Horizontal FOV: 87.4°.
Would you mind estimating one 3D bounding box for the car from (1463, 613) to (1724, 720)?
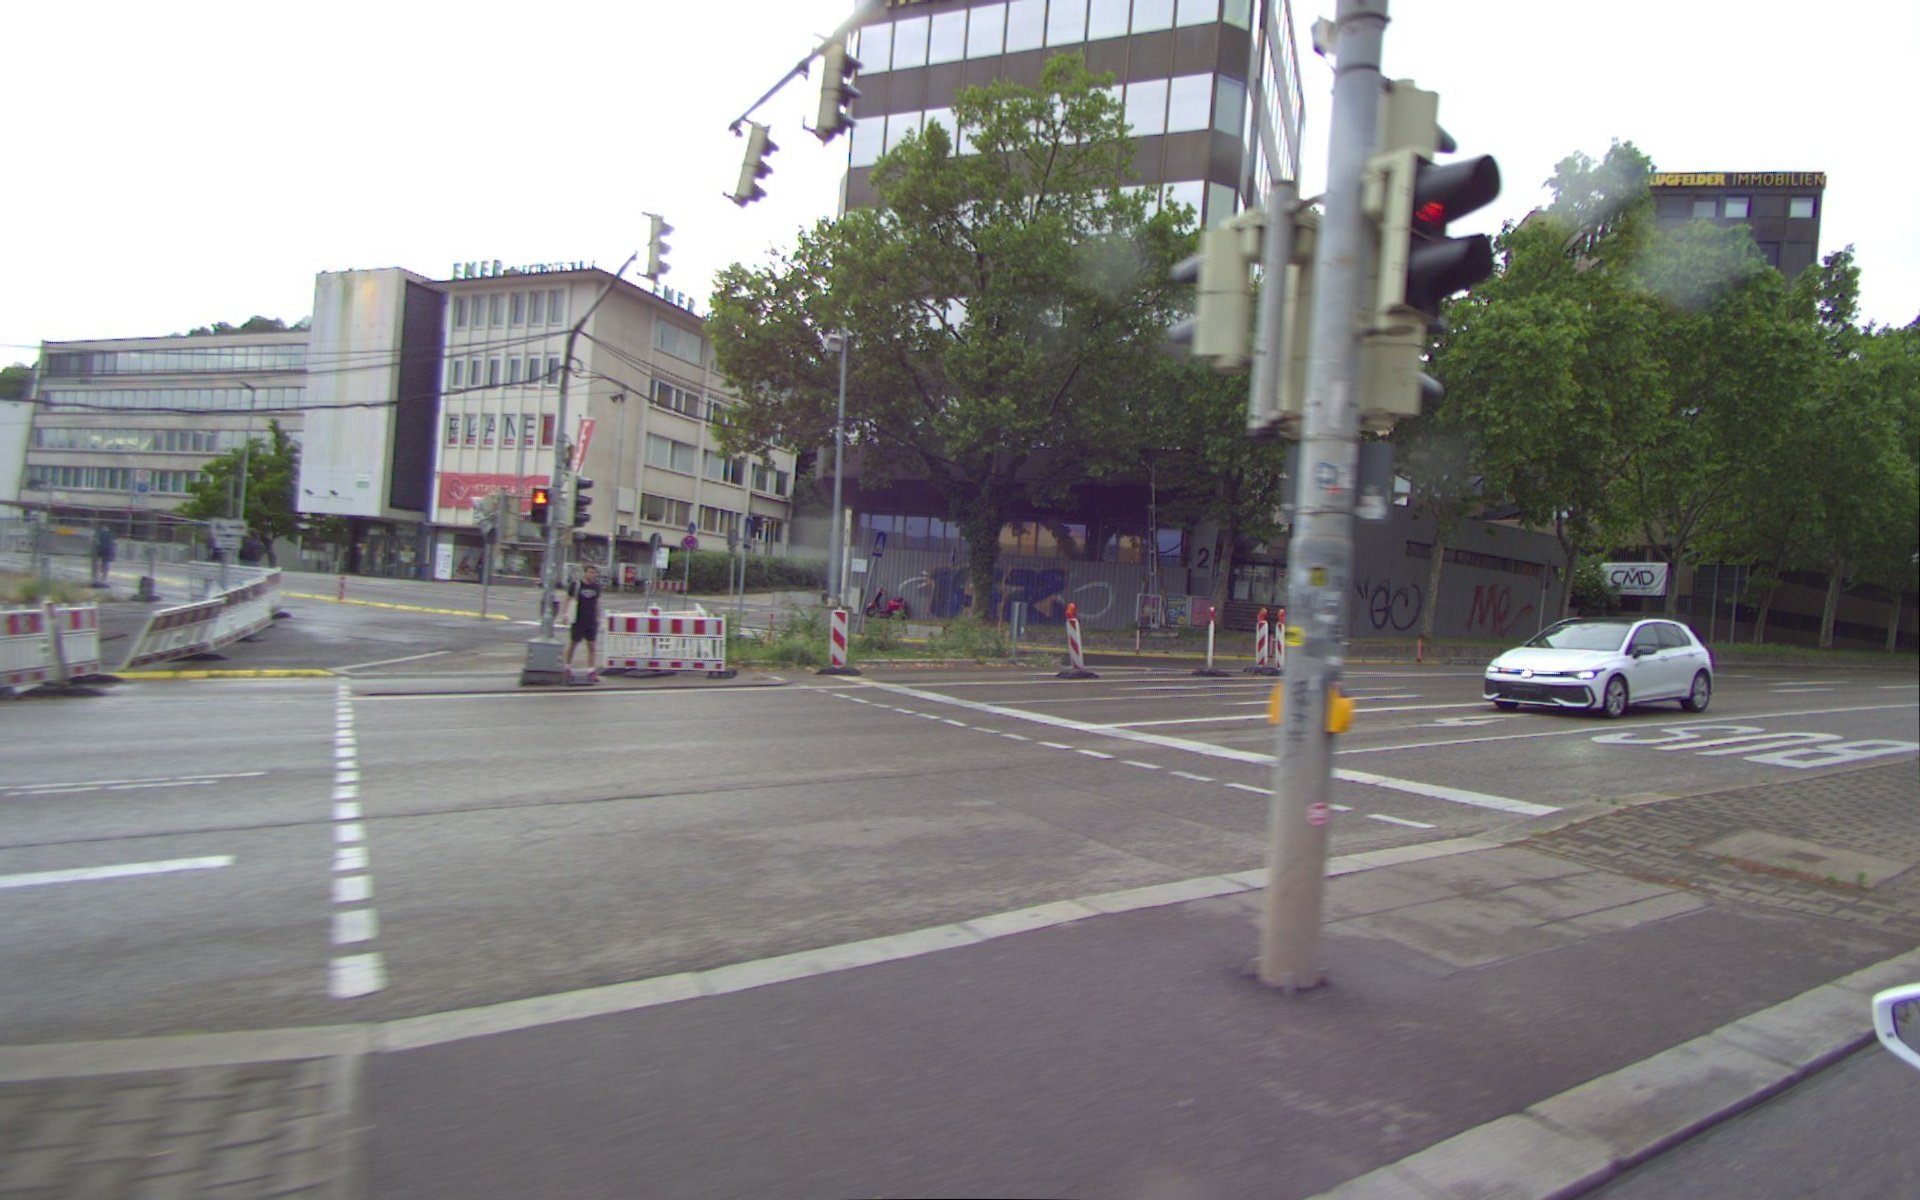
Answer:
[{"bbox_3d":[10.144,0.999,16.010,4.309,1.480,1.752,2,-1,-31],"label":"car"}]

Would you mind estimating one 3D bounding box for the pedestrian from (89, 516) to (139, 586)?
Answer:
[{"bbox_3d":[-23.187,-1.330,27.541,0.769,1.877,0.768,3,1,24],"label":"pedestrian"}]

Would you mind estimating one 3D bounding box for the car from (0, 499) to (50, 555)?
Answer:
[{"bbox_3d":[-37.621,-2.896,39.026,3.923,1.991,1.813,4,0,24],"label":"car"}]

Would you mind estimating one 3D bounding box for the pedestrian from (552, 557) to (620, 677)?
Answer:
[{"bbox_3d":[-6.147,0.277,16.507,0.741,1.905,0.734,4,0,-39],"label":"pedestrian"}]

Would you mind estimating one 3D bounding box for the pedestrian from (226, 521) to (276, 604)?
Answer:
[{"bbox_3d":[-19.117,-0.996,27.103,0.729,2.168,0.747,4,1,24],"label":"pedestrian"}]

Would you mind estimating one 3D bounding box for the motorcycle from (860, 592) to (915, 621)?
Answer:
[{"bbox_3d":[-2.861,0.250,39.618,2.142,1.051,0.565,3,1,26],"label":"motorcycle"}]

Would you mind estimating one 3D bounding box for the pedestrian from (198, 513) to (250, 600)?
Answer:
[{"bbox_3d":[-19.286,-1.136,26.333,0.688,2.200,0.747,4,0,24],"label":"pedestrian"}]
